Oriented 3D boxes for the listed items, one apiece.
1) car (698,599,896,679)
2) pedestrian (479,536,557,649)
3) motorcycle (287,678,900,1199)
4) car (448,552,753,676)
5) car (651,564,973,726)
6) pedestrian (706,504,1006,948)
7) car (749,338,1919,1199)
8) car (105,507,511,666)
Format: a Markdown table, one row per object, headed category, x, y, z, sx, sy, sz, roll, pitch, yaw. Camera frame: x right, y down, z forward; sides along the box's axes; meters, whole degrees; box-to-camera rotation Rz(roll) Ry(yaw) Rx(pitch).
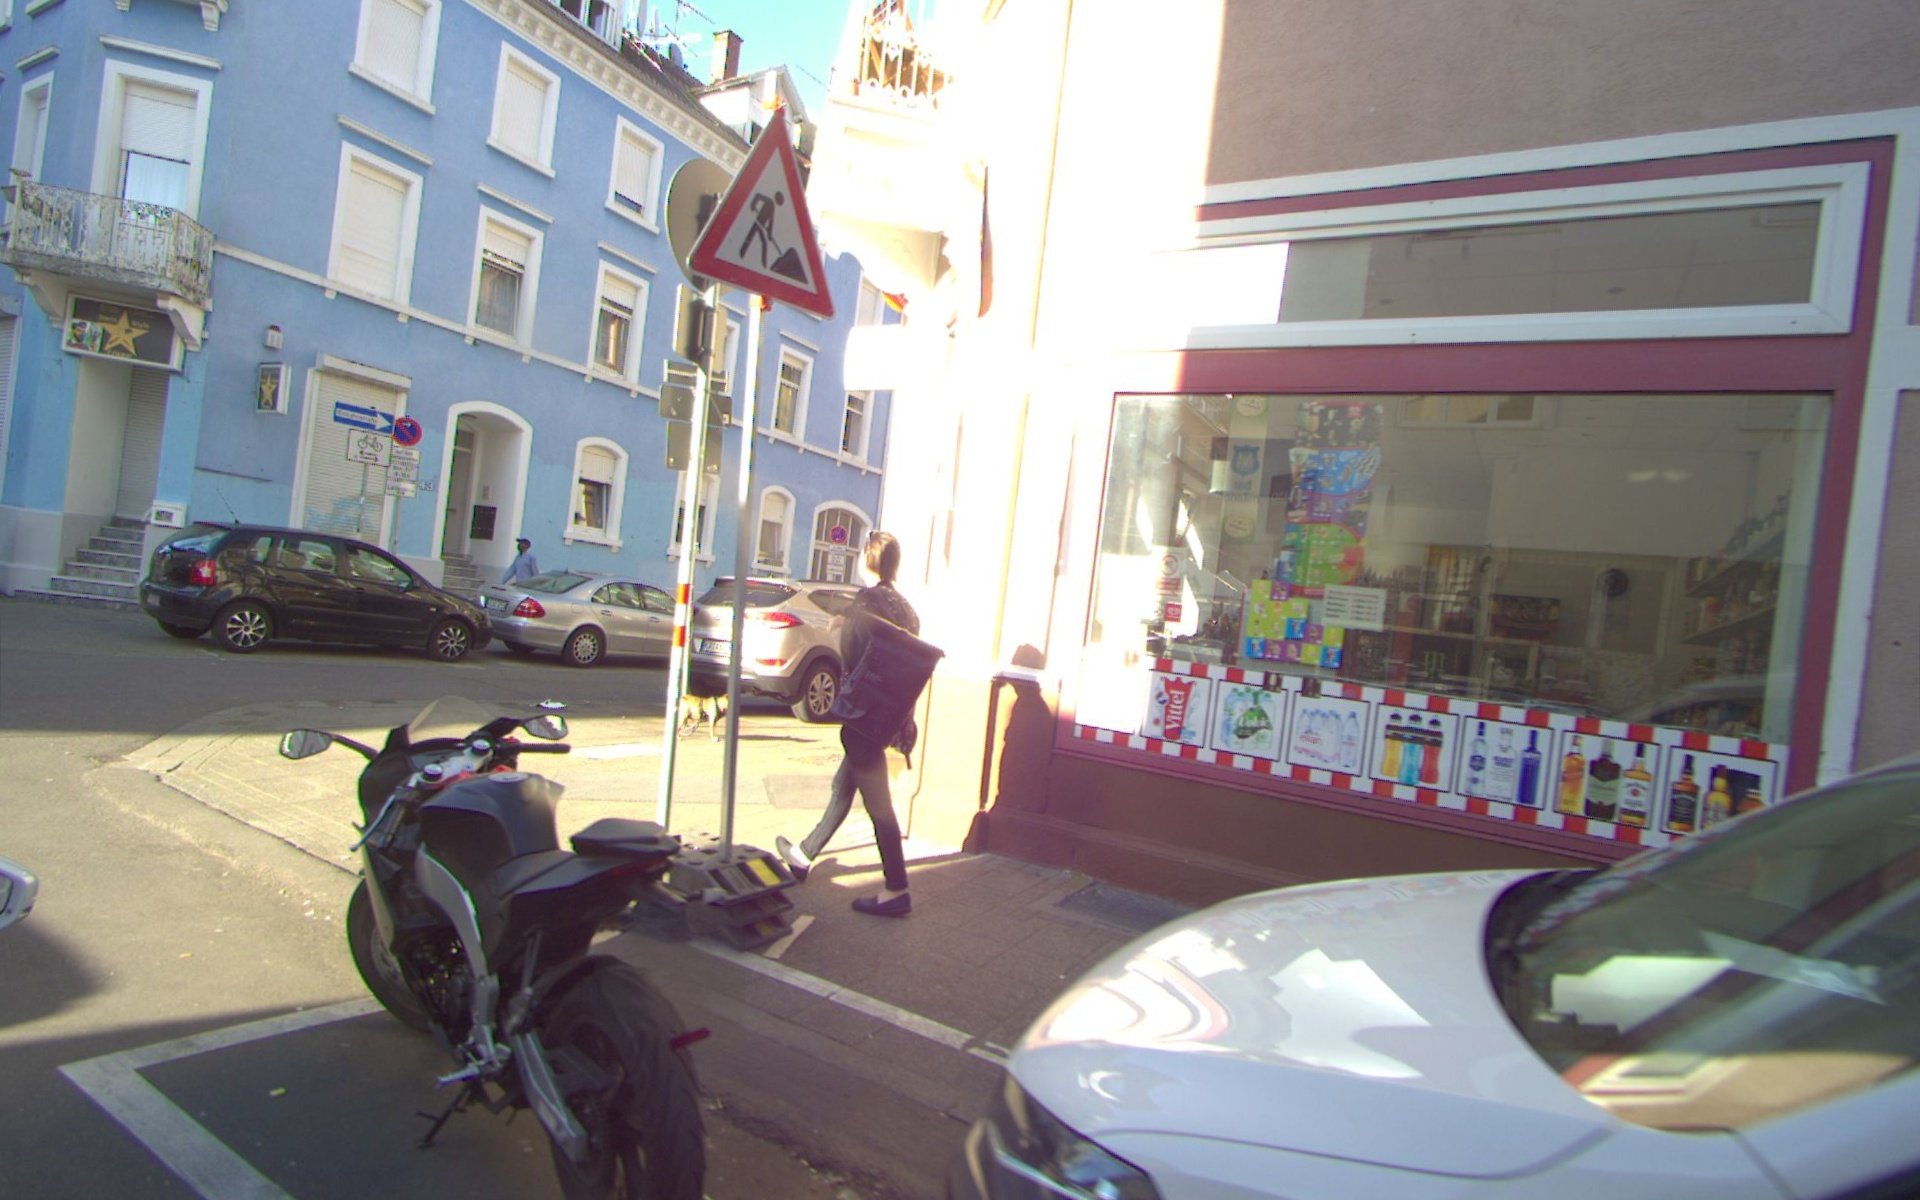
| category | x | y | z | sx | sy | sz | roll | pitch | yaw |
| --- | --- | --- | --- | --- | --- | --- | --- | --- | --- |
| car | -3.261 | 0.866 | 20.983 | 1.727 | 1.242 | 4.159 | 6 | -2 | 31 |
| pedestrian | -7.883 | -0.131 | 17.949 | 0.767 | 1.871 | 0.771 | 6 | -1 | 30 |
| motorcycle | -1.148 | 0.894 | 2.806 | 1.969 | 1.101 | 0.717 | 6 | 3 | 42 |
| car | -5.684 | 0.316 | 16.507 | 1.728 | 1.451 | 4.477 | 9 | 0 | 32 |
| car | -1.695 | 0.639 | 12.904 | 1.825 | 1.651 | 4.067 | 4 | -3 | 31 |
| pedestrian | -0.483 | 0.521 | 4.781 | 0.973 | 1.816 | 0.826 | 6 | 2 | 30 |
| car | 2.009 | 0.860 | 1.015 | 4.296 | 1.840 | 1.750 | 6 | 1 | 30 |
| car | -7.970 | -0.071 | 12.686 | 1.648 | 1.470 | 3.875 | 7 | -1 | 31 |
